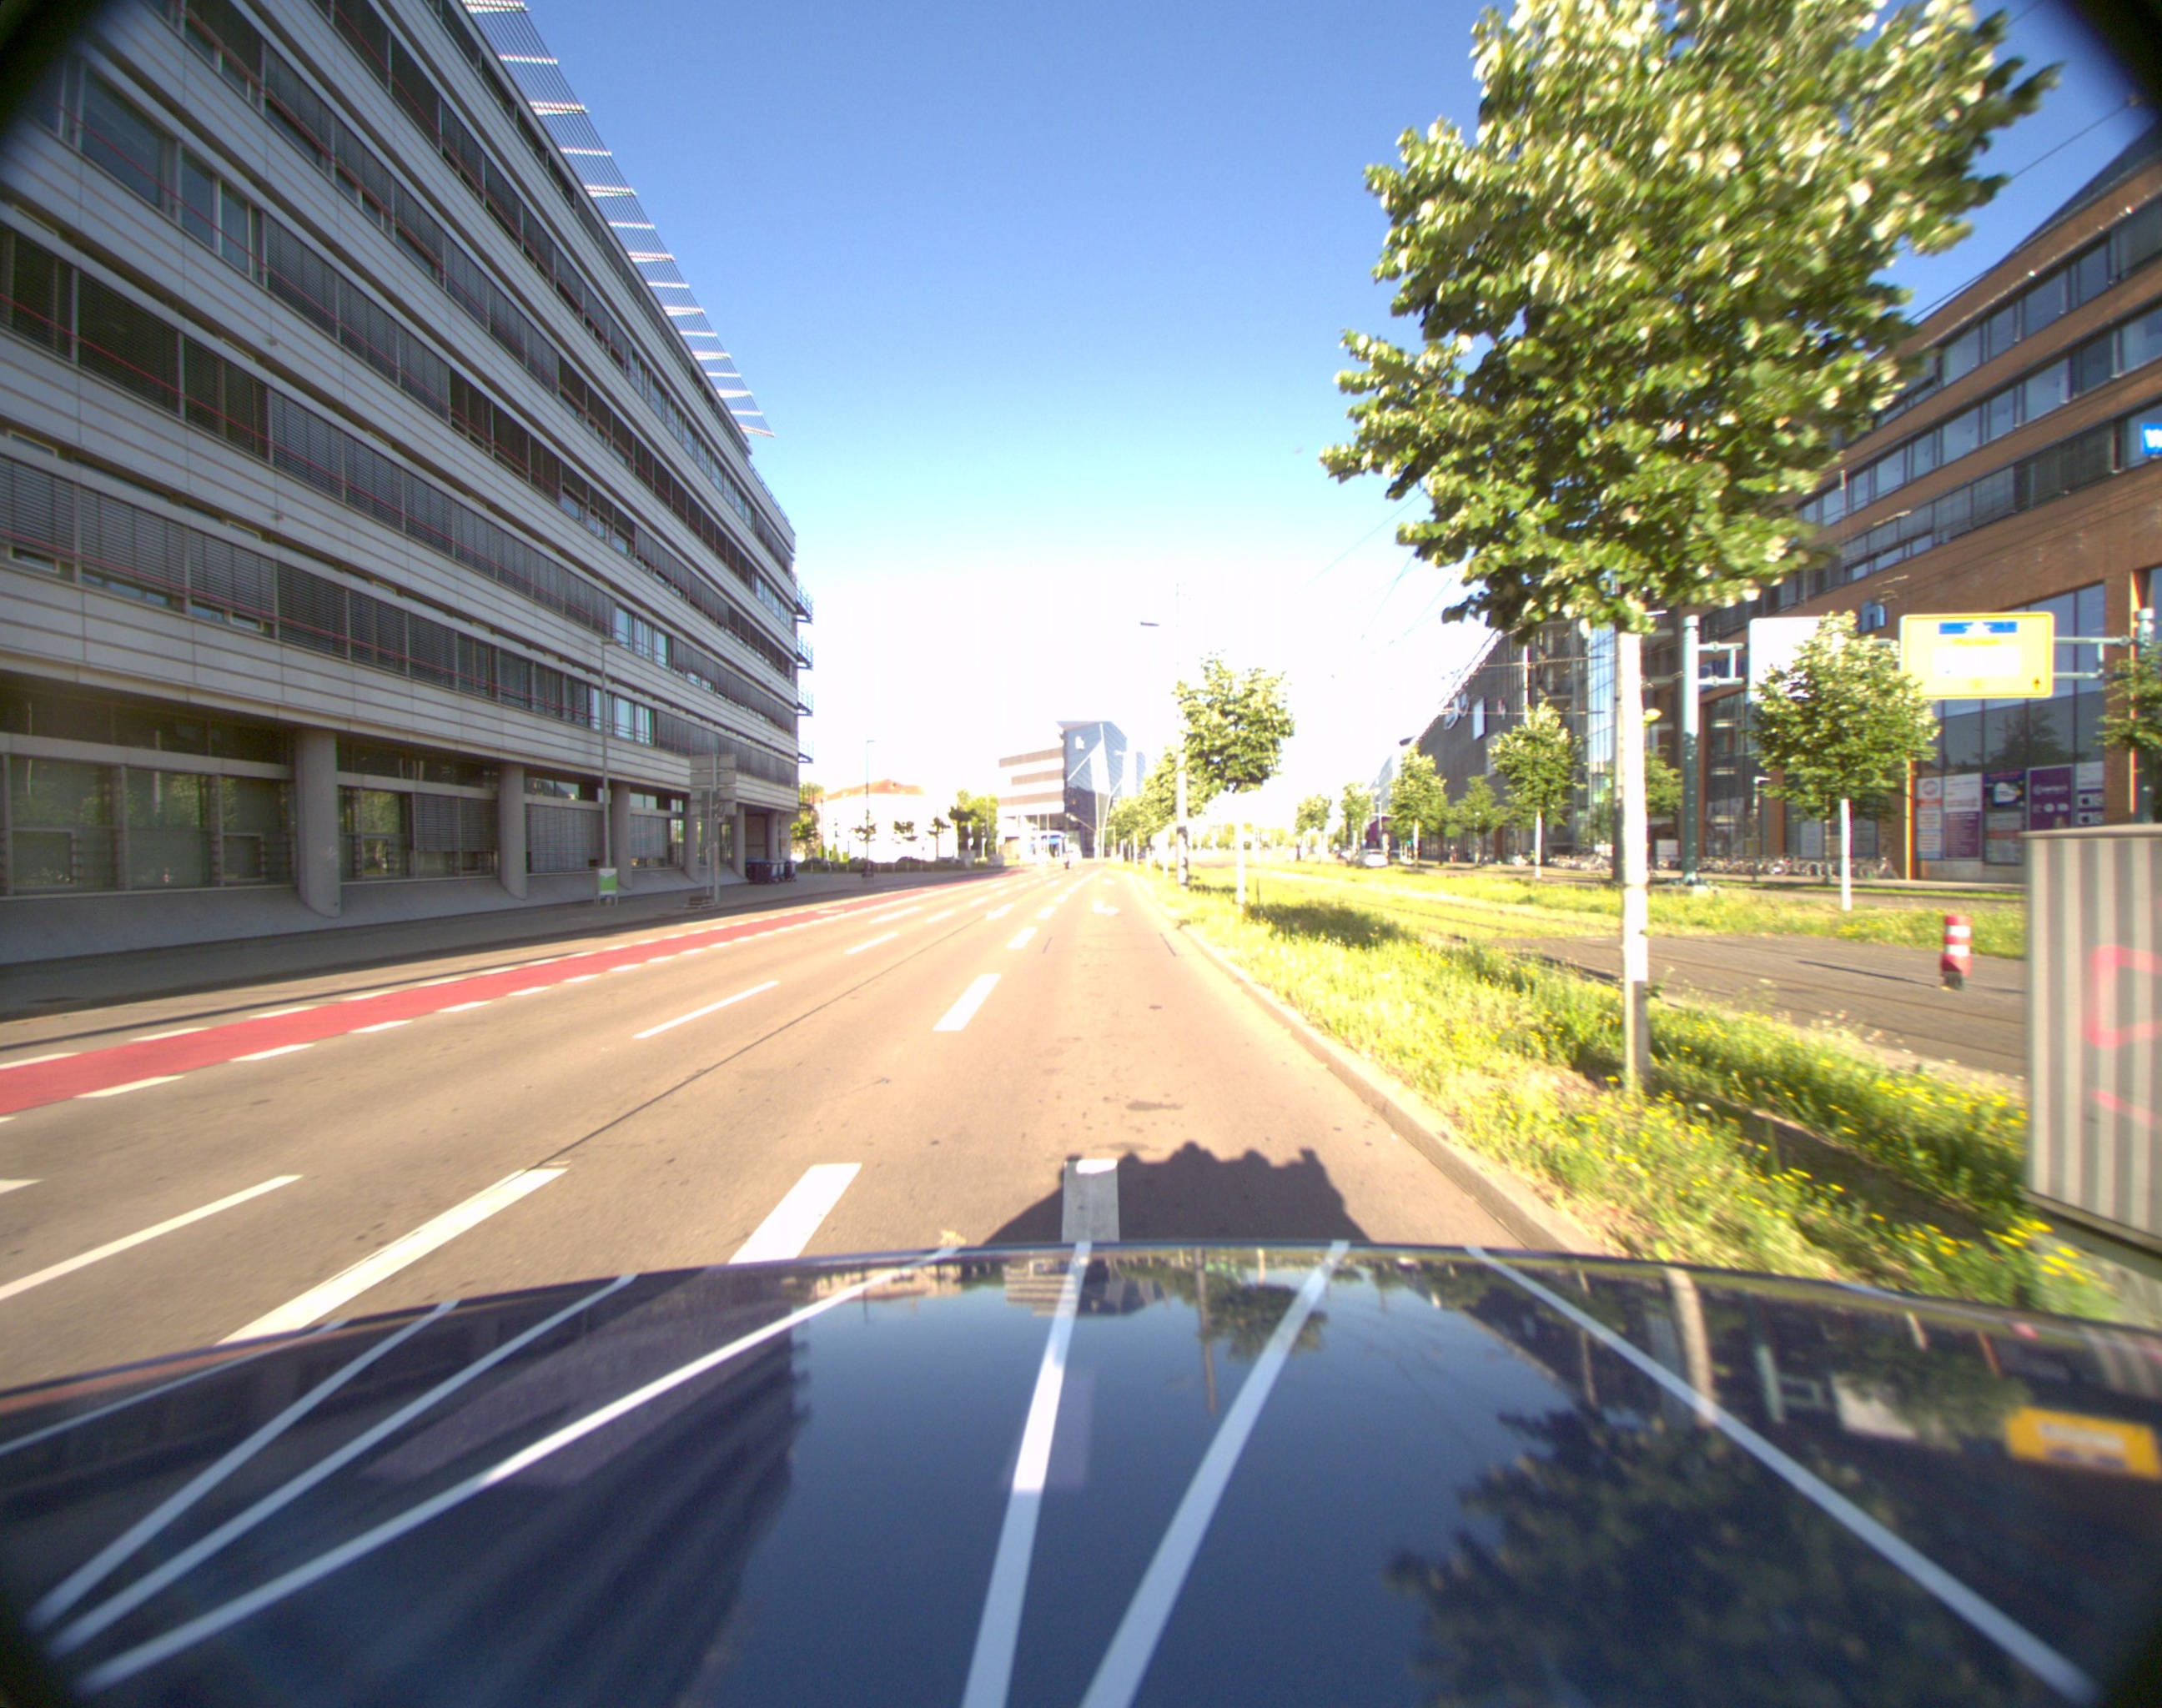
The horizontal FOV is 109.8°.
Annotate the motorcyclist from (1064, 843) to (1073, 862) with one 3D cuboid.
[{"bbox_3d":[-1.197,-0.170,73.466,0.821,1.846,1.112,0,1,-2],"label":"motorcyclist"}]

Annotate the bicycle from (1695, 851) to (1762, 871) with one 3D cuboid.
[{"bbox_3d":[35.141,0.377,41.264,2.687,1.097,0.897,-1,0,11],"label":"bicycle"}]

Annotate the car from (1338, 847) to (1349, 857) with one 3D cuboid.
[{"bbox_3d":[40.732,-0.366,117.851,1.623,1.519,4.362,0,1,20],"label":"car"}]

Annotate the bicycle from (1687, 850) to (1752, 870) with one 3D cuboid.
[{"bbox_3d":[35.660,0.328,42.486,2.687,1.097,0.897,-1,0,11],"label":"bicycle"}]

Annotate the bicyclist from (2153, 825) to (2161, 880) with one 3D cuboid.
[{"bbox_3d":[30.455,-0.039,20.803,0.895,1.539,0.939,-1,0,1],"label":"bicyclist"}]

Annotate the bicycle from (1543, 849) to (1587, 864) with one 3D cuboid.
[{"bbox_3d":[36.342,0.183,57.076,2.687,1.097,0.897,-1,0,11],"label":"bicycle"}]

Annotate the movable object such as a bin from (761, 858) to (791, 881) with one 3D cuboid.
[{"bbox_3d":[-17.680,0.870,44.096,1.173,1.294,1.329,-1,1,1],"label":"movable object such as a bin"}]

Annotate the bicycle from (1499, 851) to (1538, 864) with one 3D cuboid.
[{"bbox_3d":[37.199,0.268,64.601,2.687,1.097,0.897,-1,0,11],"label":"bicycle"}]

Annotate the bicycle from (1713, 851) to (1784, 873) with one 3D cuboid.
[{"bbox_3d":[34.803,0.416,39.628,2.687,1.097,0.897,-1,0,11],"label":"bicycle"}]

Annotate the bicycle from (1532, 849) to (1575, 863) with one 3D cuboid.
[{"bbox_3d":[36.628,0.148,58.961,2.687,1.097,0.897,-1,0,11],"label":"bicycle"}]

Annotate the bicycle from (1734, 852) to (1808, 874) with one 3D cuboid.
[{"bbox_3d":[34.724,0.439,38.289,2.687,1.097,0.897,-1,0,11],"label":"bicycle"}]

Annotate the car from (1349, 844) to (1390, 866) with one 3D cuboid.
[{"bbox_3d":[21.726,0.052,57.363,1.625,1.519,4.804,-1,1,5],"label":"car"}]

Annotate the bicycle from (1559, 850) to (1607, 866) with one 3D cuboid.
[{"bbox_3d":[35.343,0.278,53.512,2.687,1.097,0.897,-1,0,11],"label":"bicycle"}]

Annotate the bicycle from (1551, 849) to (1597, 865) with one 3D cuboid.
[{"bbox_3d":[35.889,0.227,55.382,2.687,1.097,0.897,-1,0,11],"label":"bicycle"}]

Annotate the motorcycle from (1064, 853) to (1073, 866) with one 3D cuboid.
[{"bbox_3d":[-1.193,0.535,73.453,0.821,1.214,2.255,0,1,-2],"label":"motorcycle"}]

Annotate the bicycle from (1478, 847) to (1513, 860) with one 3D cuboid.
[{"bbox_3d":[38.278,-0.042,70.160,2.687,1.182,0.897,-1,0,11],"label":"bicycle"}]

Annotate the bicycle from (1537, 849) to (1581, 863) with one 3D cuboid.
[{"bbox_3d":[36.505,0.162,58.051,2.687,1.097,0.826,-1,0,11],"label":"bicycle"}]

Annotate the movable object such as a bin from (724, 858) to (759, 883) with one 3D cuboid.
[{"bbox_3d":[-18.285,0.897,40.951,1.328,1.294,1.174,-1,1,1],"label":"movable object such as a bin"}]

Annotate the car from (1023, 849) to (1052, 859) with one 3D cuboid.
[{"bbox_3d":[-7.052,-0.048,122.335,4.346,1.519,1.681,0,1,18],"label":"car"}]

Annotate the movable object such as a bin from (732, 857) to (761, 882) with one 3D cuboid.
[{"bbox_3d":[-18.847,0.851,42.884,1.109,1.366,1.108,-1,1,1],"label":"movable object such as a bin"}]

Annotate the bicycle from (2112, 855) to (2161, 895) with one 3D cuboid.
[{"bbox_3d":[30.466,0.578,20.804,0.895,1.097,2.692,-1,0,2],"label":"bicycle"}]

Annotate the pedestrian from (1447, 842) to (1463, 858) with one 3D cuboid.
[{"bbox_3d":[39.158,-0.419,79.629,1.072,1.671,1.095,-1,1,-5],"label":"pedestrian"}]

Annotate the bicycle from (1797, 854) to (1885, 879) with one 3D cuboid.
[{"bbox_3d":[33.690,0.547,33.720,2.687,1.097,0.897,-1,0,11],"label":"bicycle"}]

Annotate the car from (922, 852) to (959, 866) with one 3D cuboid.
[{"bbox_3d":[-15.008,0.532,81.034,3.790,1.523,1.744,0,1,37],"label":"car"}]

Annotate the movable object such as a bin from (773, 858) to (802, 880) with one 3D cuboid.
[{"bbox_3d":[-17.519,0.879,45.439,1.173,1.294,1.329,-1,1,1],"label":"movable object such as a bin"}]

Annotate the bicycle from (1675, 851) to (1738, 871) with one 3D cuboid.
[{"bbox_3d":[35.906,0.388,43.646,2.687,1.097,0.897,-1,0,11],"label":"bicycle"}]

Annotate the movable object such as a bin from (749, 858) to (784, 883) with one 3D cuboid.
[{"bbox_3d":[-16.922,0.891,40.902,1.328,1.294,1.174,-1,1,1],"label":"movable object such as a bin"}]

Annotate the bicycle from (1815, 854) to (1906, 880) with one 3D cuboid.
[{"bbox_3d":[33.486,0.545,32.692,2.687,1.097,0.897,-1,0,11],"label":"bicycle"}]
